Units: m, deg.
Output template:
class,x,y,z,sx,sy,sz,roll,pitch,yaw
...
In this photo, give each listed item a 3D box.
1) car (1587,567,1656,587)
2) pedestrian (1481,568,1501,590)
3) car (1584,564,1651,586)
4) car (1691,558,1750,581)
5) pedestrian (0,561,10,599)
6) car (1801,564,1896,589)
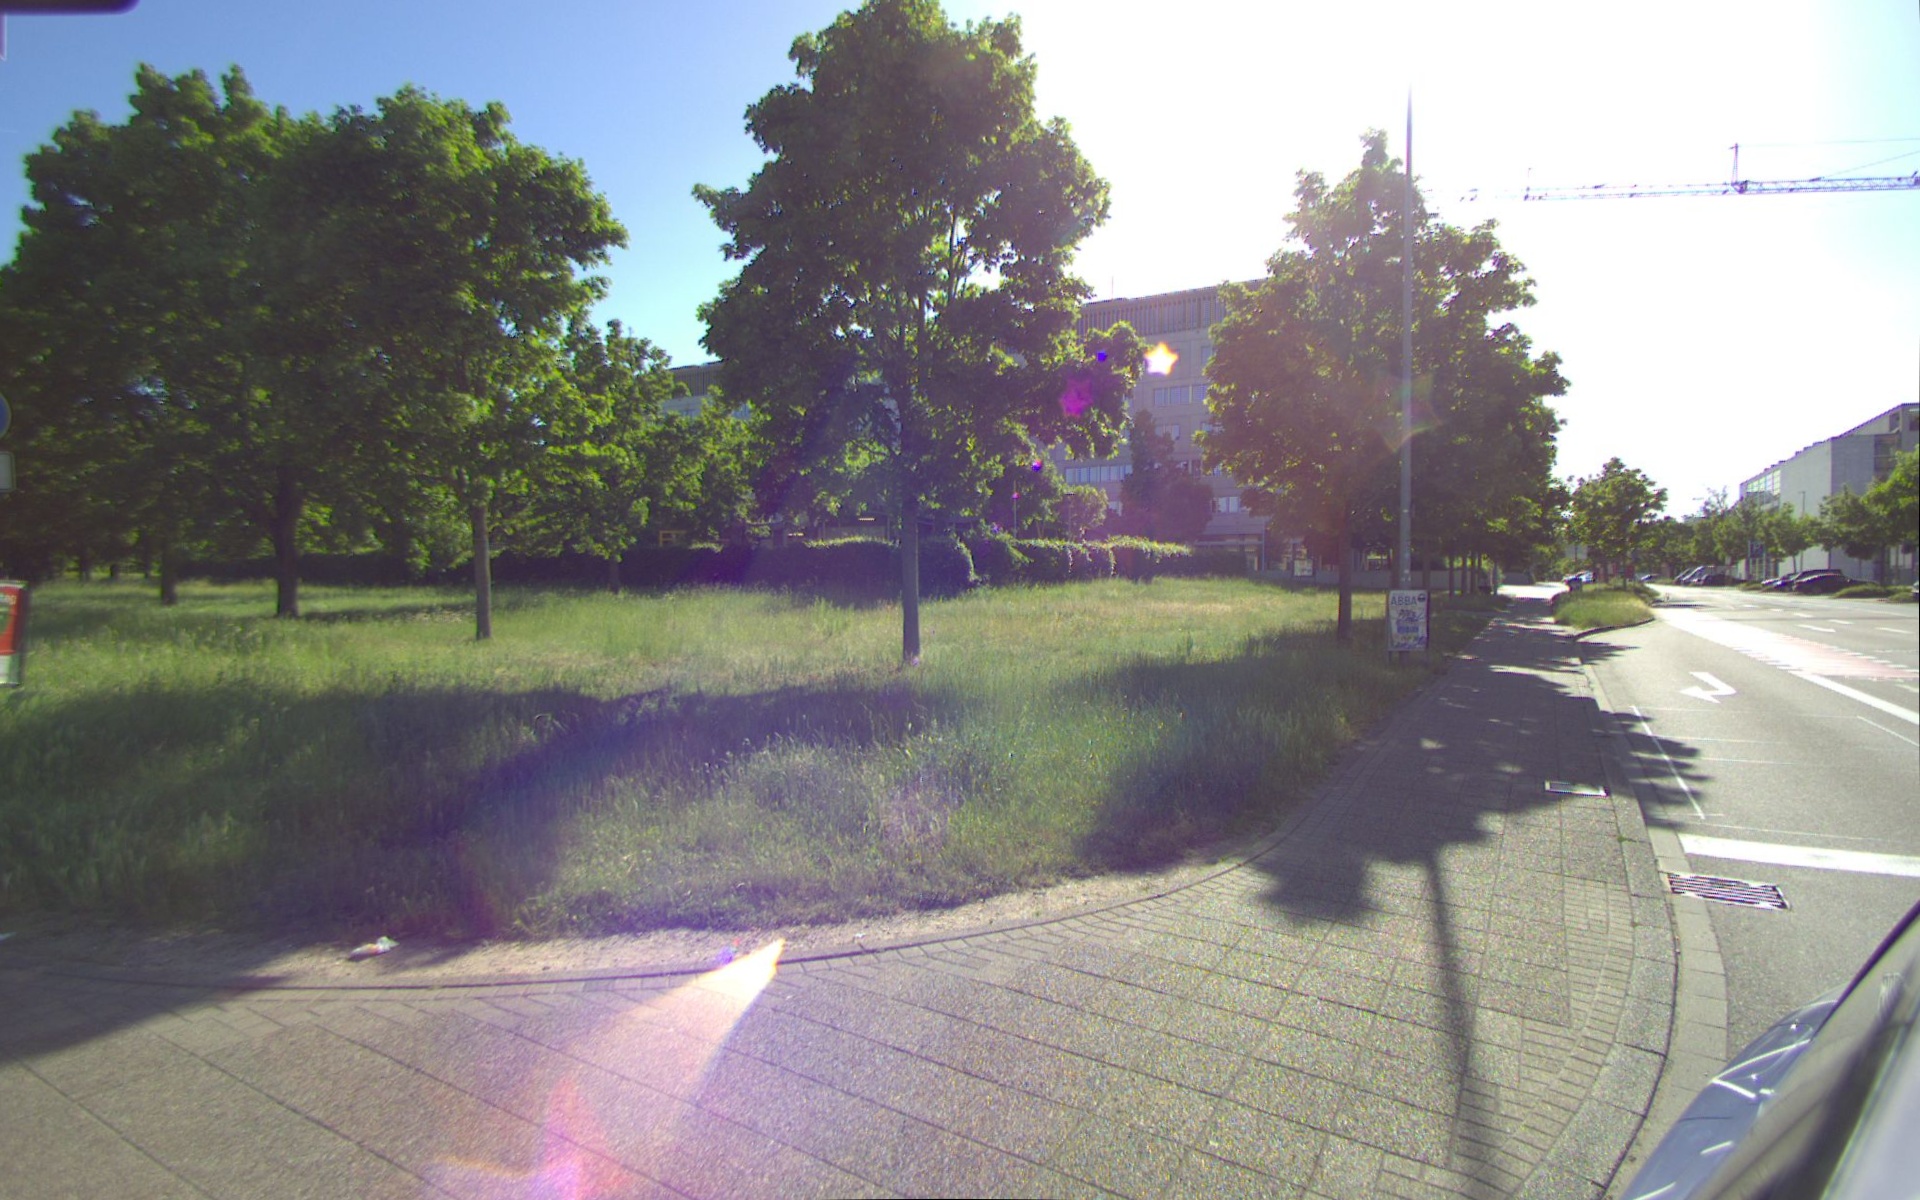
class,x,y,z,sx,sy,sz,roll,pitch,yaw
car,51.608,-1.828,79.036,4.383,1.481,1.874,2,2,32
pedestrian,30.231,-1.178,57.631,0.836,1.232,0.724,2,2,19
car,52.612,-2.012,81.072,4.383,1.661,2.051,2,2,32
car,92.823,-3.729,123.681,5.548,2.514,1.986,-2,0,34
pedestrian,-45.288,-0.939,47.582,0.883,1.748,0.730,1,1,35
car,59.840,-1.565,68.263,4.358,1.450,1.959,-2,0,28
